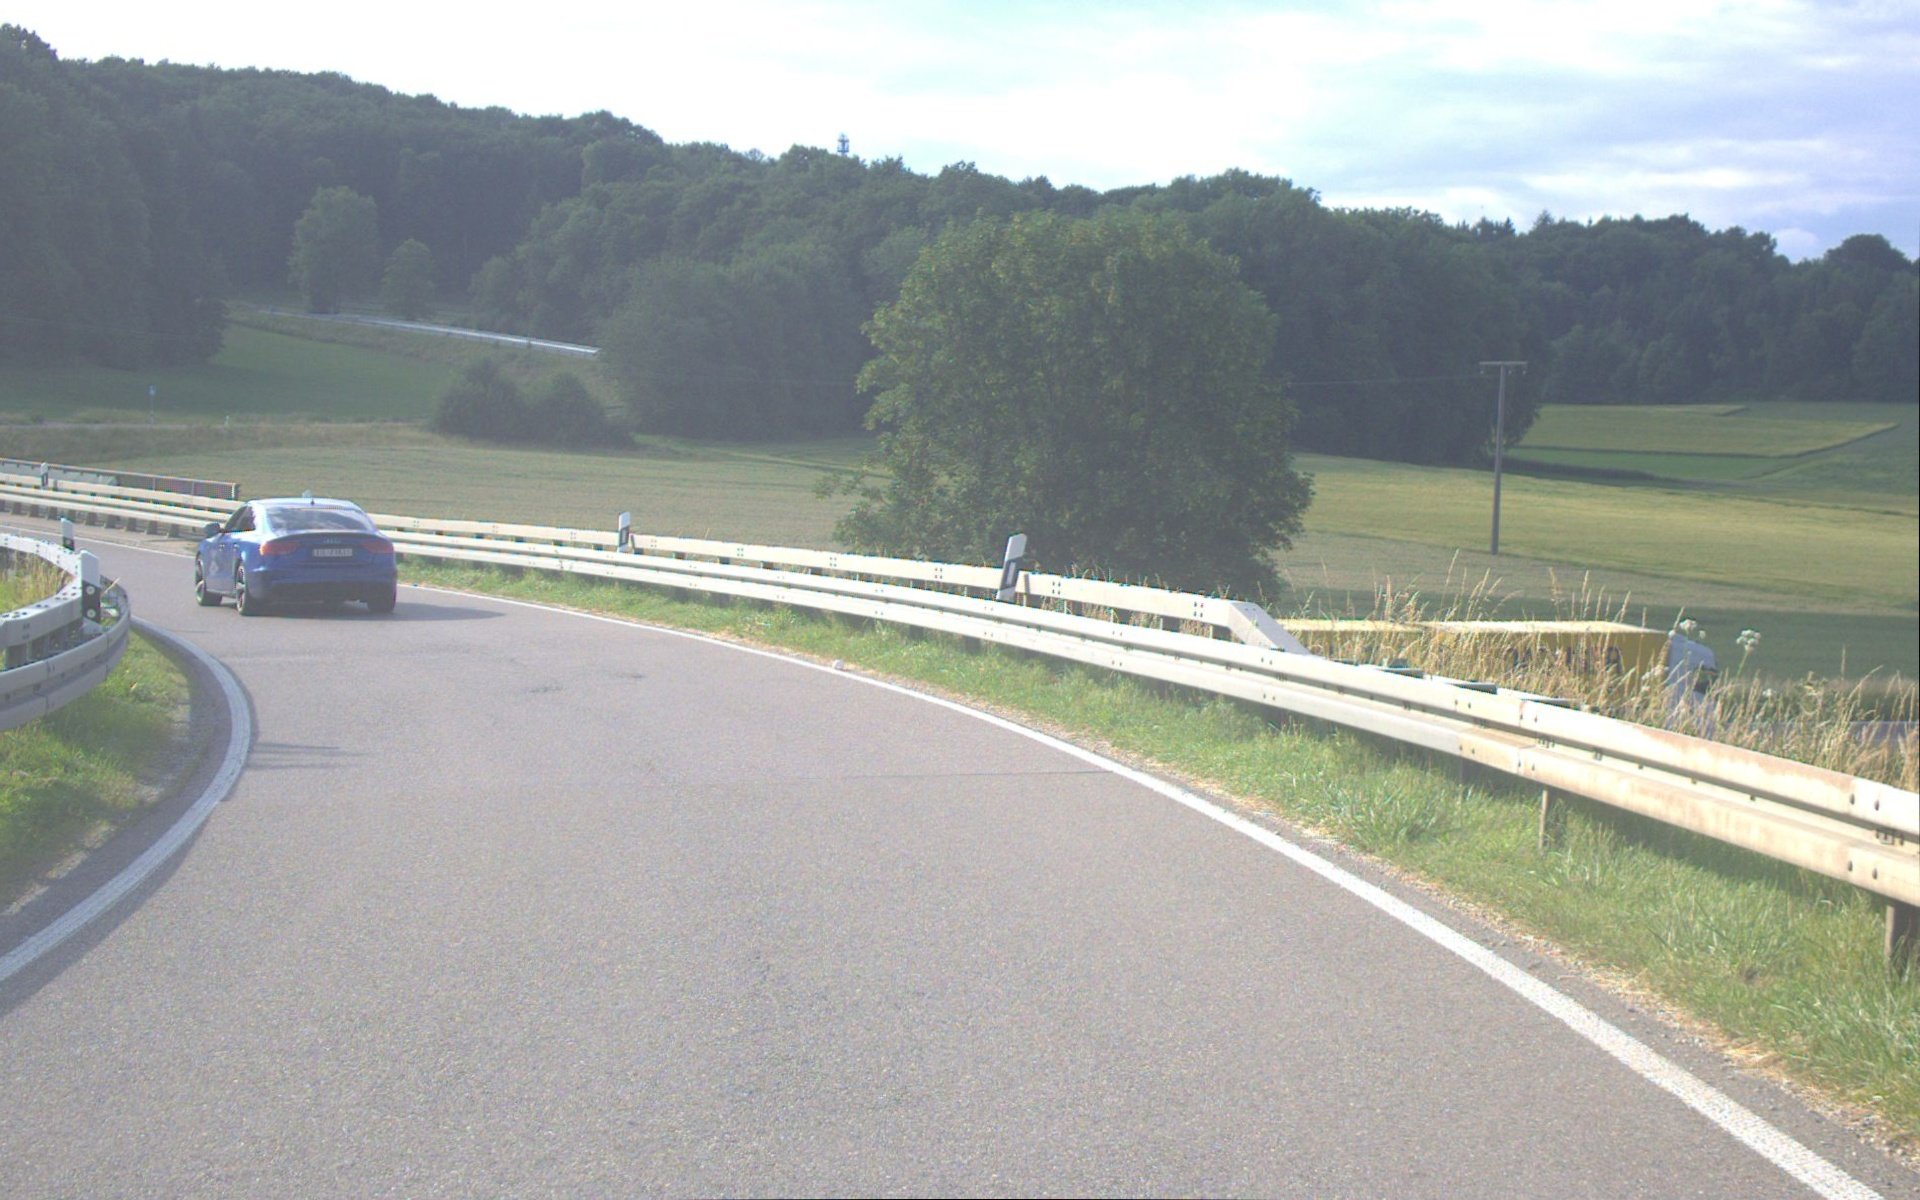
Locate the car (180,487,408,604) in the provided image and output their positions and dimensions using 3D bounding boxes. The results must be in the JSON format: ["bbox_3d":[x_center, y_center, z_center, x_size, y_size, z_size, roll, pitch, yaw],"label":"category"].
[{"bbox_3d":[-8.146,-0.692,41.761,1.818,1.334,4.351,0,2,-23],"label":"car"}]

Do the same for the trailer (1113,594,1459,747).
[{"bbox_3d":[9.233,1.950,97.171,9.098,4.046,3.838,1,1,-30],"label":"trailer"}]

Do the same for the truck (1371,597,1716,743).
[{"bbox_3d":[17.327,2.034,101.811,9.769,4.046,3.838,1,1,-30],"label":"truck"}]
